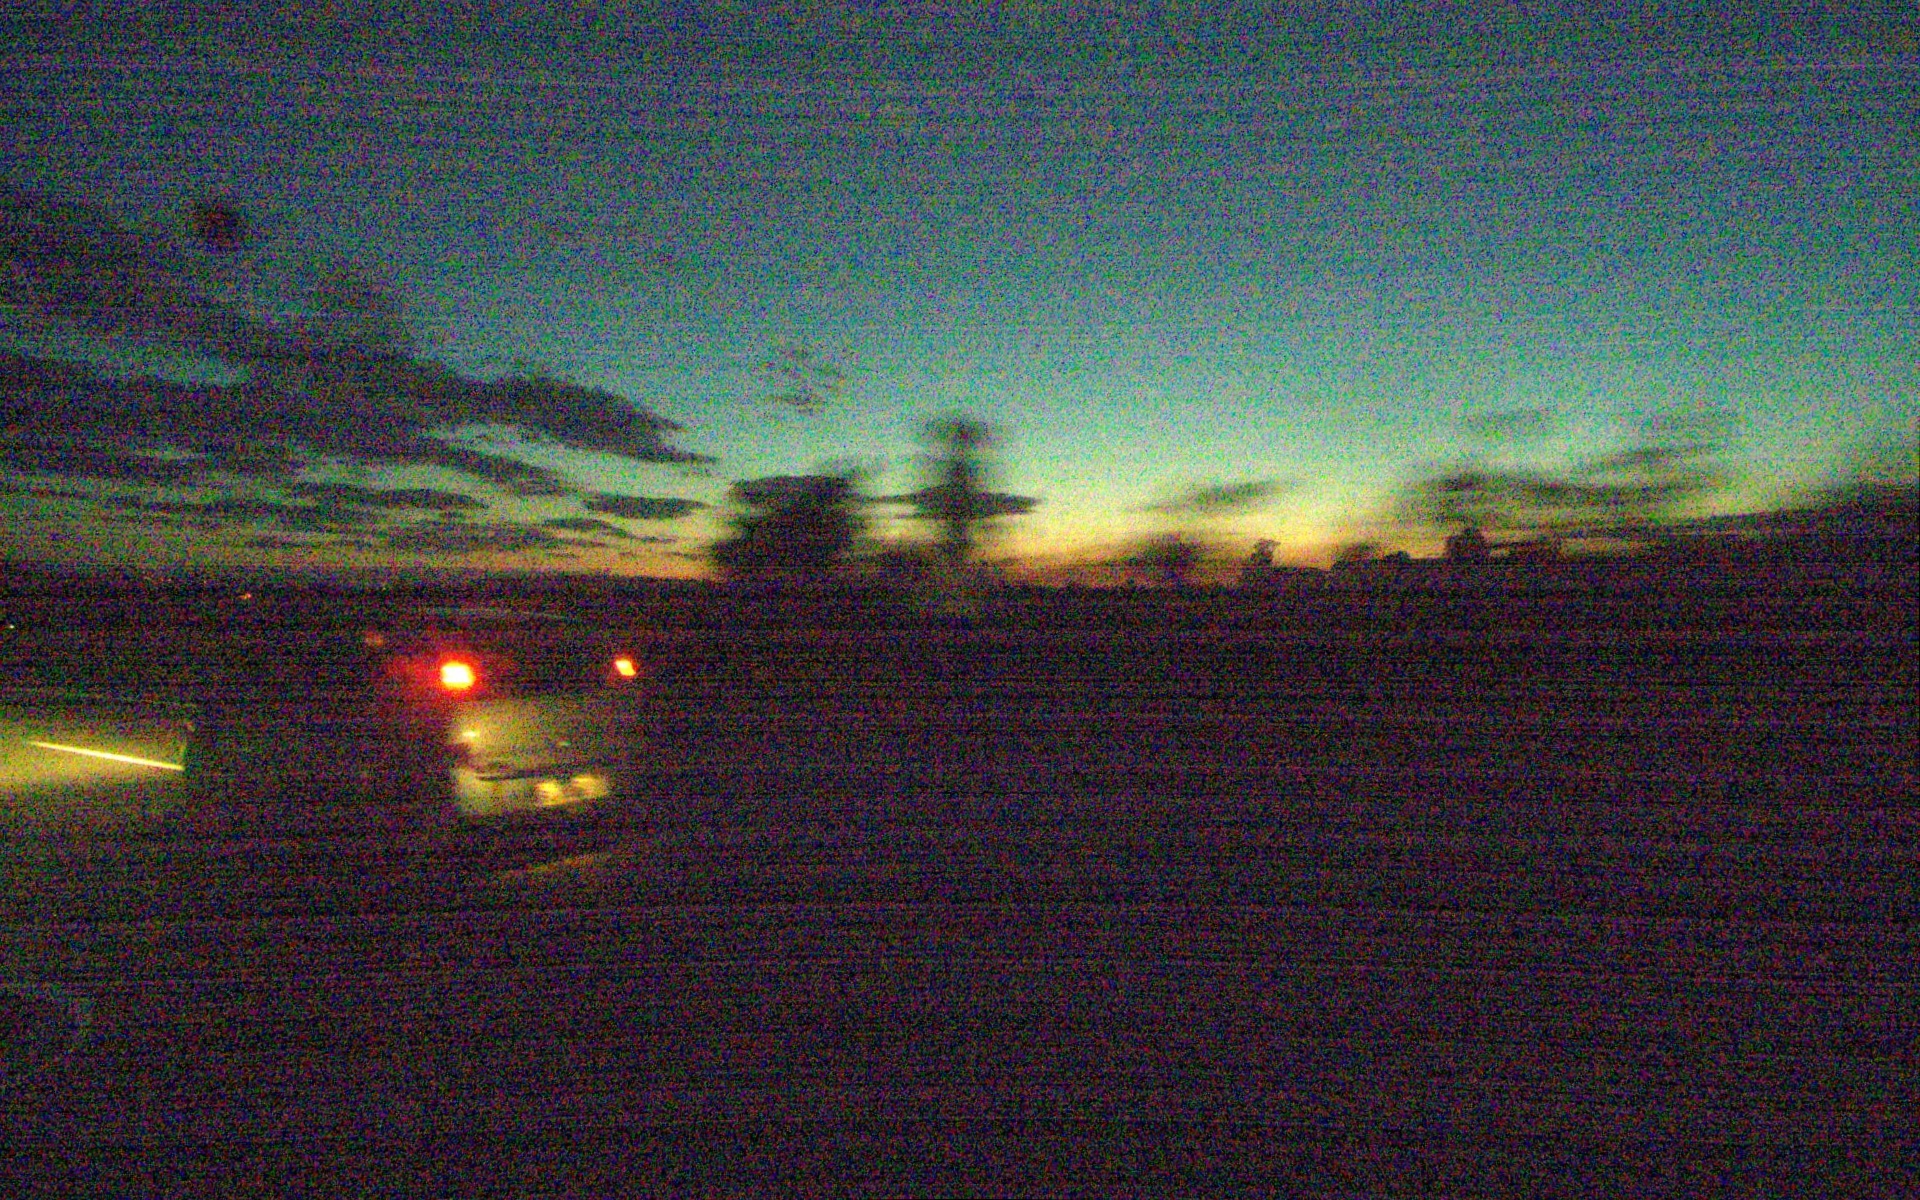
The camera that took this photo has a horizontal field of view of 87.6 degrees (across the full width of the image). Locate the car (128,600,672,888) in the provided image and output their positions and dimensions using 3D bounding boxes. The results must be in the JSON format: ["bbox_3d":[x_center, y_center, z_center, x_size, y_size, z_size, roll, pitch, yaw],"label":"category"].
[{"bbox_3d":[-4.326,0.838,7.500,4.445,1.617,1.643,-1,-1,32],"label":"car"}]
